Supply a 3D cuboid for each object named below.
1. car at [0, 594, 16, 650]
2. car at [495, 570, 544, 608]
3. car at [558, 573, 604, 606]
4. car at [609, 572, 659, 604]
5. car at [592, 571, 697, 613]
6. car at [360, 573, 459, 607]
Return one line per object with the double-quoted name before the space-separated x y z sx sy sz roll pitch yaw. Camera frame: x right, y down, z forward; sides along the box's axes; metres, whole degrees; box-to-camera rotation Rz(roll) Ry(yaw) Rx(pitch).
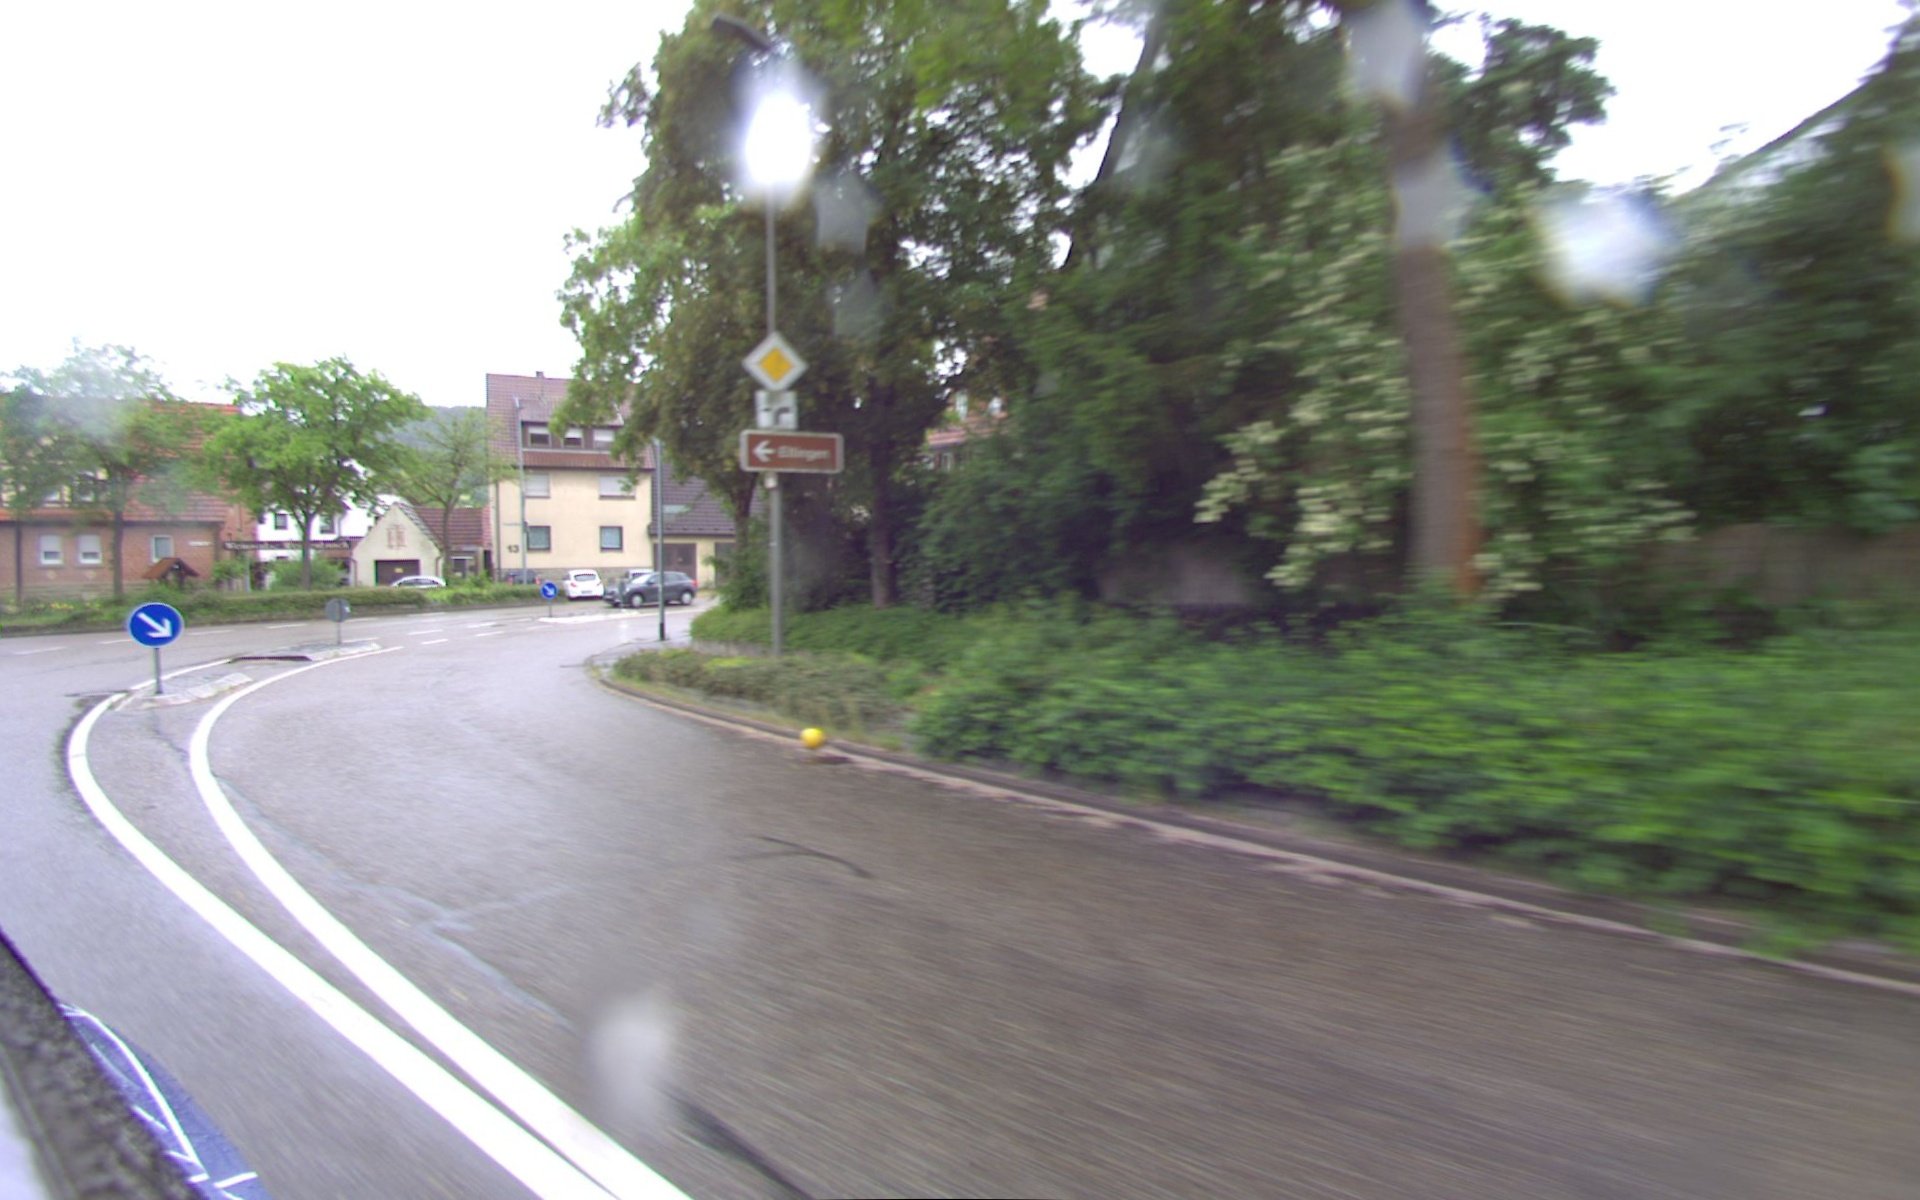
"car" -28.931 0.712 27.774 4.083 1.547 1.761 -2 3 -9
"car" -22.445 -0.598 51.507 1.719 1.594 4.013 -4 6 -31
"car" -19.696 -0.576 52.509 1.689 1.540 3.442 -3 3 -29
"car" -17.307 -0.673 53.649 1.790 1.425 4.644 -2 4 -27
"car" -13.874 -0.397 44.625 2.000 1.541 3.944 6 6 42
"car" -27.354 -0.541 50.432 4.192 1.449 1.915 -2 4 -25
